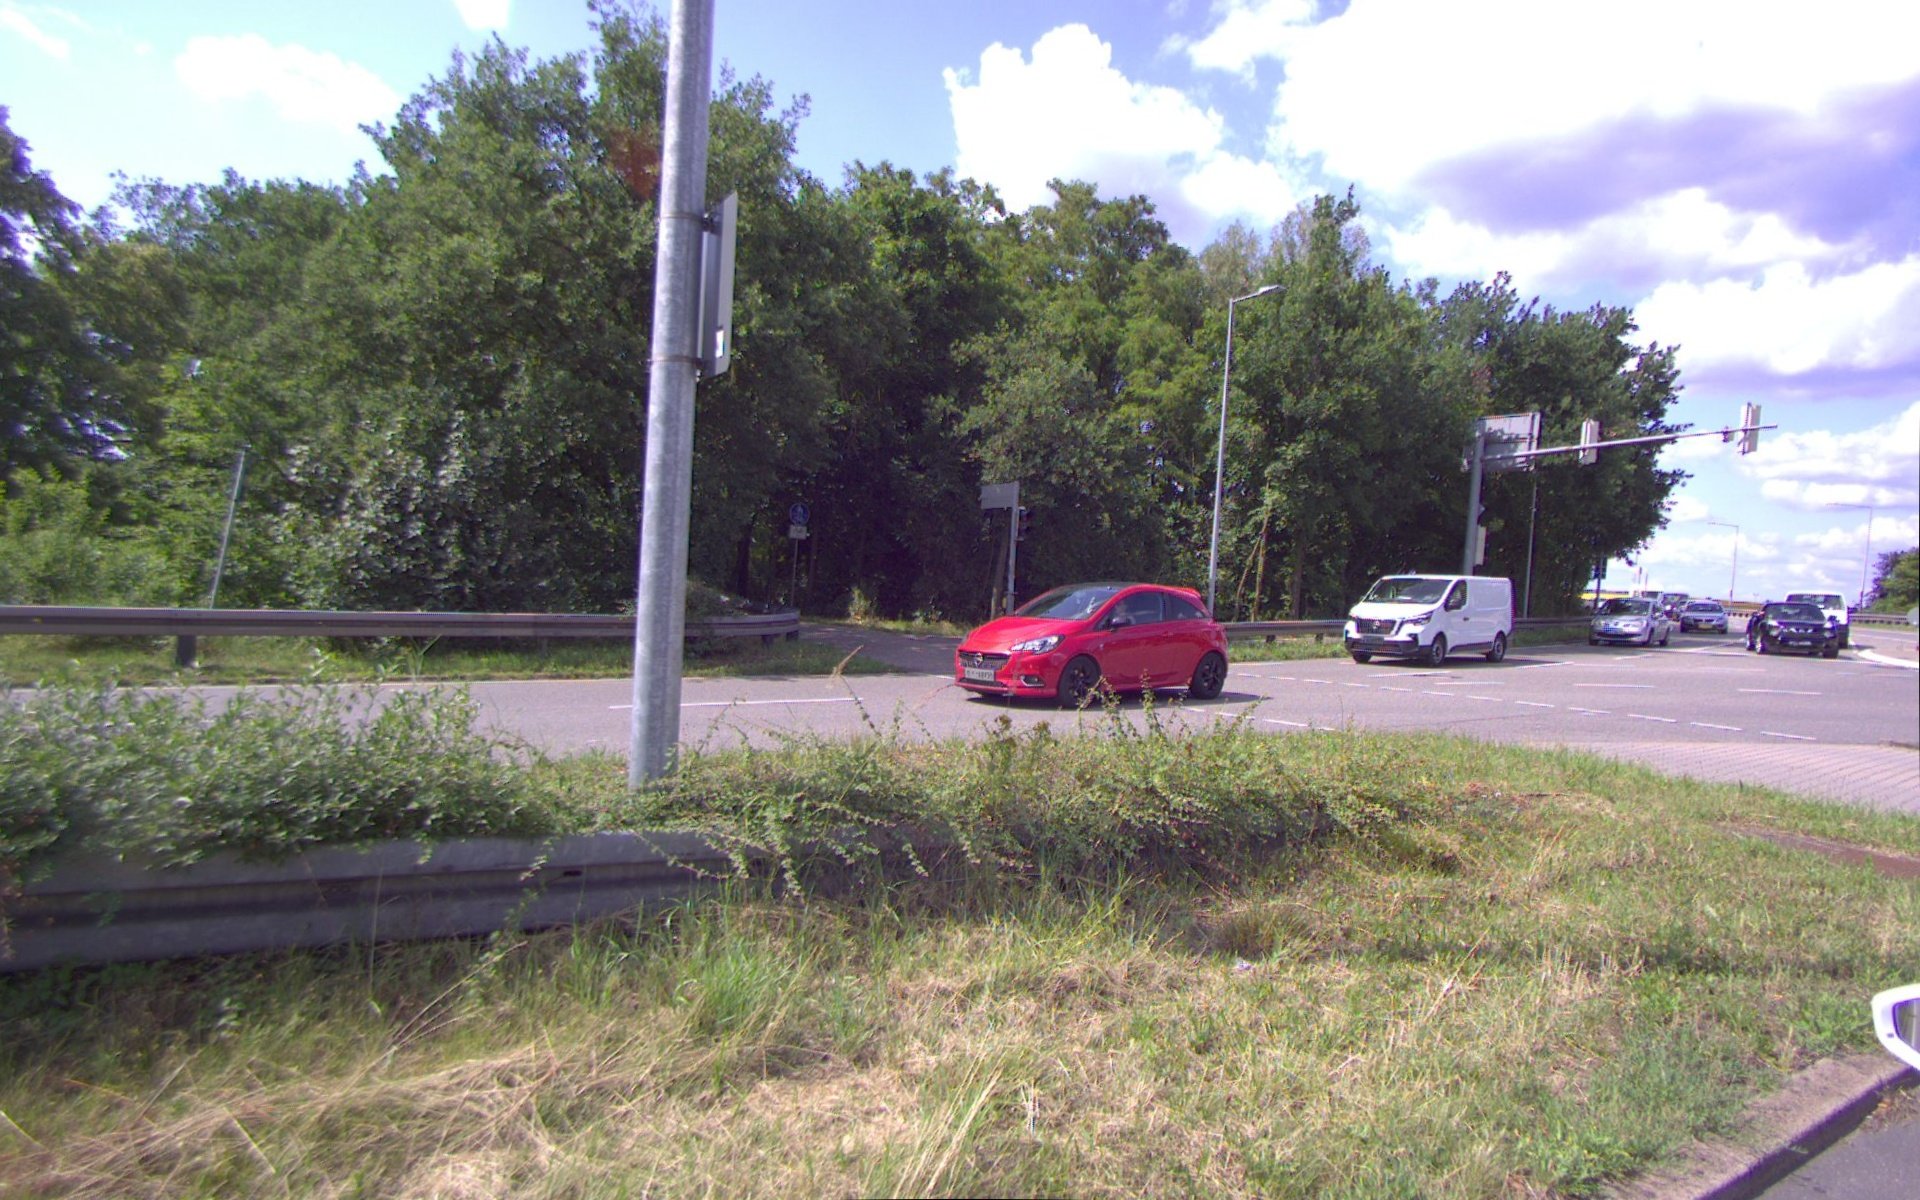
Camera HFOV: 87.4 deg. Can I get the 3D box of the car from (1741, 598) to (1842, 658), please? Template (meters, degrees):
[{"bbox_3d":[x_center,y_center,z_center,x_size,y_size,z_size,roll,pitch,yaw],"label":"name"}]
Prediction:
[{"bbox_3d":[24.583,0.771,29.817,1.673,1.578,3.813,3,2,31],"label":"car"}]

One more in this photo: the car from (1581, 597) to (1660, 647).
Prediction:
[{"bbox_3d":[21.630,0.688,32.829,1.712,1.541,4.049,1,0,39],"label":"car"}]

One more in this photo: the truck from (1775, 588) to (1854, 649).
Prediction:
[{"bbox_3d":[30.378,0.609,35.838,1.937,1.939,5.346,3,2,39],"label":"truck"}]

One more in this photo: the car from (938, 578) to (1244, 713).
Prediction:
[{"bbox_3d":[1.762,0.514,12.719,3.967,1.451,1.568,1,1,-40],"label":"car"}]

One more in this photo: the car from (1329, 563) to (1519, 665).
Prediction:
[{"bbox_3d":[10.552,0.325,22.654,5.095,2.040,1.976,2,0,-41],"label":"car"}]

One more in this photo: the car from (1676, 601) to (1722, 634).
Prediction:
[{"bbox_3d":[35.487,0.806,48.306,1.660,1.498,4.697,1,0,35],"label":"car"}]

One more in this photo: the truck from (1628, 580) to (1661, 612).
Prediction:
[{"bbox_3d":[58.971,-0.356,86.644,1.965,2.656,6.090,1,1,31],"label":"truck"}]
